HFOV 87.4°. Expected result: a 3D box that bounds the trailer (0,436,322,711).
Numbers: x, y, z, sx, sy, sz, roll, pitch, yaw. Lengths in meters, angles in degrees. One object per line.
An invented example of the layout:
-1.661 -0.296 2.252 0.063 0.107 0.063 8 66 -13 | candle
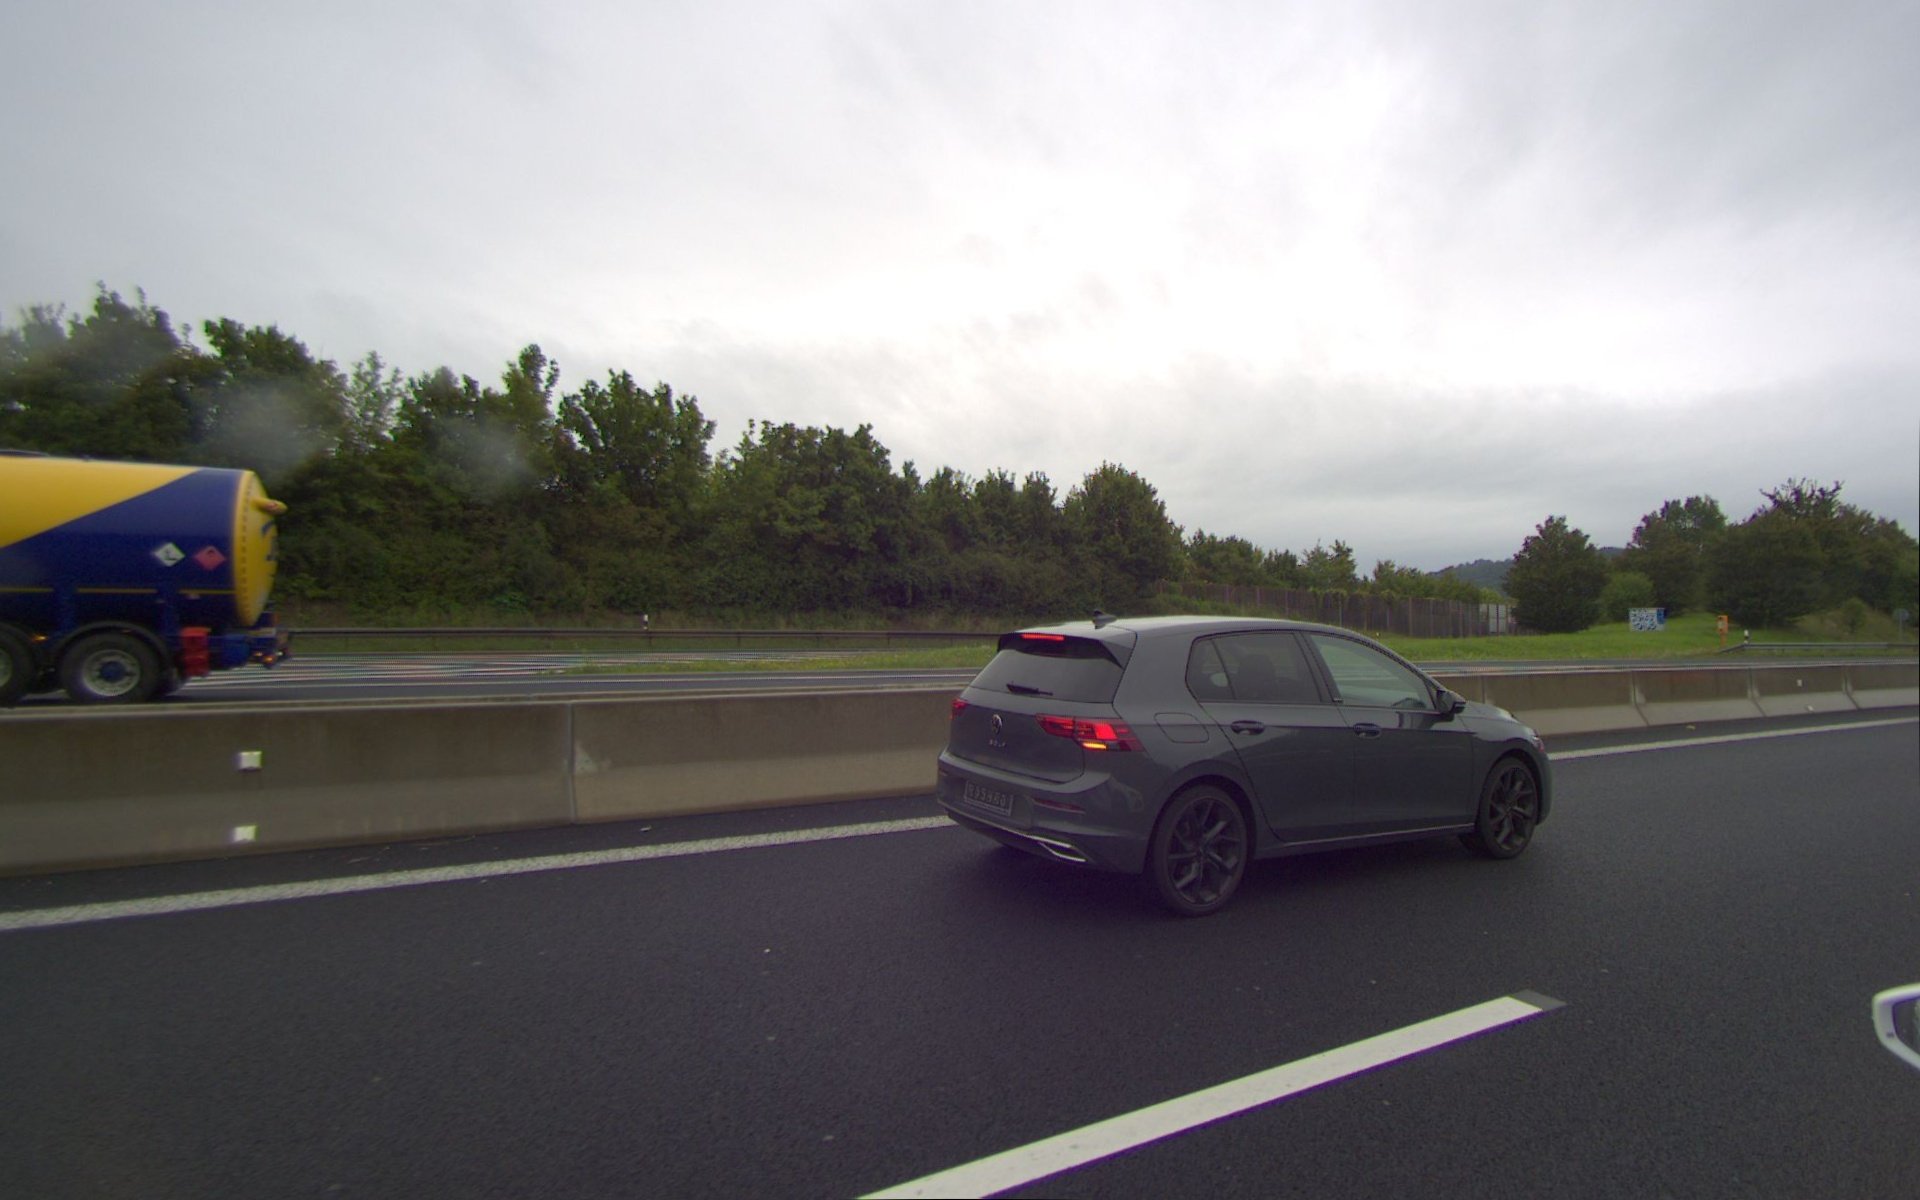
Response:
-14.861 -0.401 12.589 11.302 3.443 2.751 2 0 -28 | trailer

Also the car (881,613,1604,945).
1.895 0.820 6.310 4.408 1.424 1.891 1 -1 -31 | car
